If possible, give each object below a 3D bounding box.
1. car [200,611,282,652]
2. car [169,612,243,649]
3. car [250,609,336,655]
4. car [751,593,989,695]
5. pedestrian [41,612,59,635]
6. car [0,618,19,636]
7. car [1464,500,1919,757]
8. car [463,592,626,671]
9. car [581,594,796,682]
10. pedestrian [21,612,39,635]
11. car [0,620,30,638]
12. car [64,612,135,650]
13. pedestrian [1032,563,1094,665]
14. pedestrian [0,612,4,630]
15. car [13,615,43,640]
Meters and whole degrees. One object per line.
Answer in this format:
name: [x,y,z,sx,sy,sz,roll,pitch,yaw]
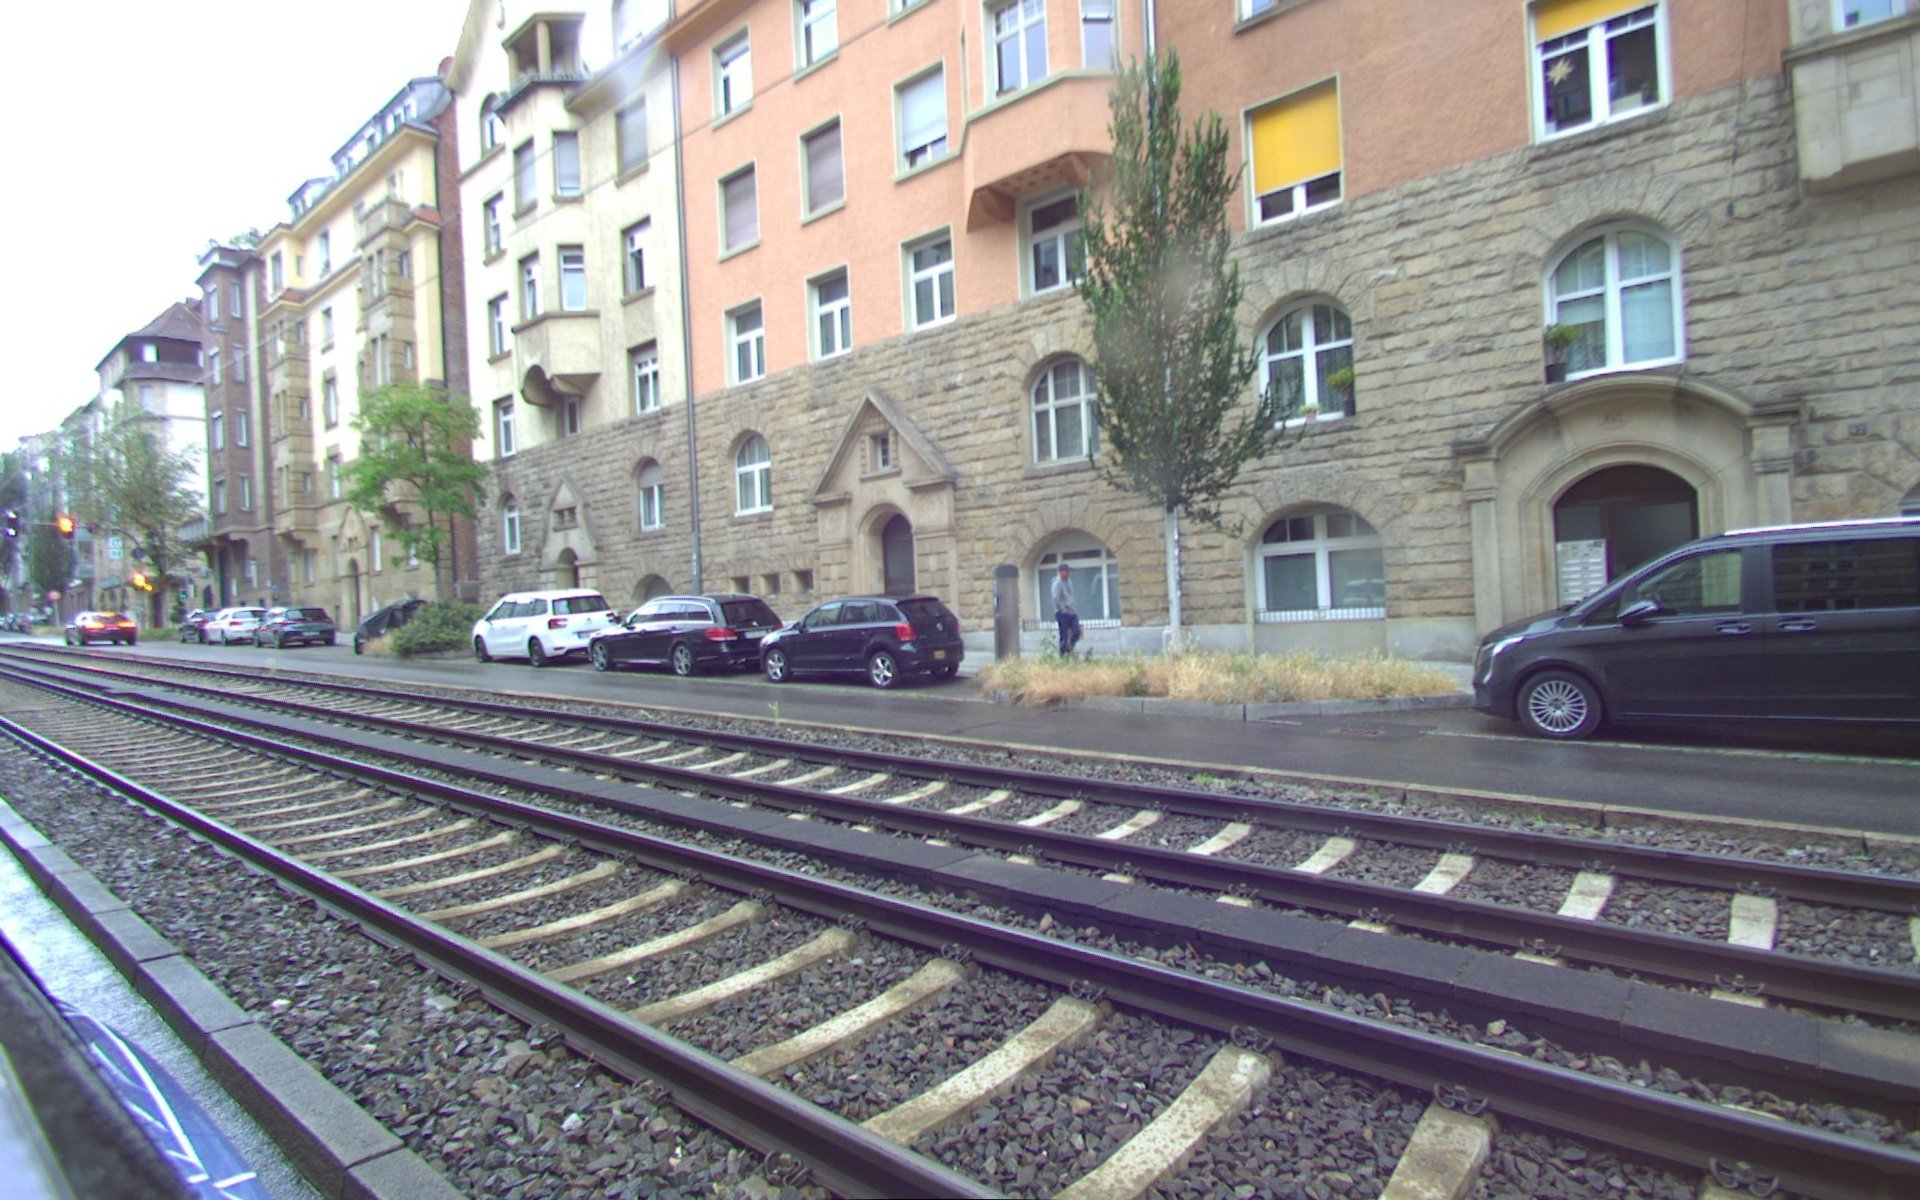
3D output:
car: [-28.280,1.212,39.762,4.030,1.452,1.748,-1,1,42]
car: [-32.138,1.267,43.085,3.843,1.452,1.748,-1,0,41]
car: [-23.678,1.096,35.859,3.845,1.452,1.656,-1,1,43]
car: [-1.551,0.668,16.916,3.638,1.508,1.912,-1,0,38]
pedestrian: [-80.647,2.060,89.671,1.163,1.972,1.042,-1,0,43]
car: [-80.911,2.293,85.412,3.843,1.527,1.748,-1,0,41]
car: [7.351,0.214,8.981,4.823,1.956,1.973,-1,0,41]
car: [-9.740,0.701,23.610,4.144,1.668,1.843,-1,0,41]
car: [-5.433,0.696,19.937,4.599,1.506,1.824,-1,0,41]
pedestrian: [-81.490,2.071,88.683,1.163,1.972,1.042,-1,0,43]
car: [-74.284,2.284,79.339,3.843,1.321,1.563,-1,0,41]
car: [-37.626,1.333,44.197,4.964,1.535,1.783,-1,0,43]
pedestrian: [1.732,0.230,17.060,0.765,1.654,0.692,-1,0,41]
pedestrian: [-102.834,2.264,107.740,1.379,1.972,1.362,-1,0,43]
car: [-69.035,1.995,74.974,1.561,1.691,3.794,-2,2,-43]
